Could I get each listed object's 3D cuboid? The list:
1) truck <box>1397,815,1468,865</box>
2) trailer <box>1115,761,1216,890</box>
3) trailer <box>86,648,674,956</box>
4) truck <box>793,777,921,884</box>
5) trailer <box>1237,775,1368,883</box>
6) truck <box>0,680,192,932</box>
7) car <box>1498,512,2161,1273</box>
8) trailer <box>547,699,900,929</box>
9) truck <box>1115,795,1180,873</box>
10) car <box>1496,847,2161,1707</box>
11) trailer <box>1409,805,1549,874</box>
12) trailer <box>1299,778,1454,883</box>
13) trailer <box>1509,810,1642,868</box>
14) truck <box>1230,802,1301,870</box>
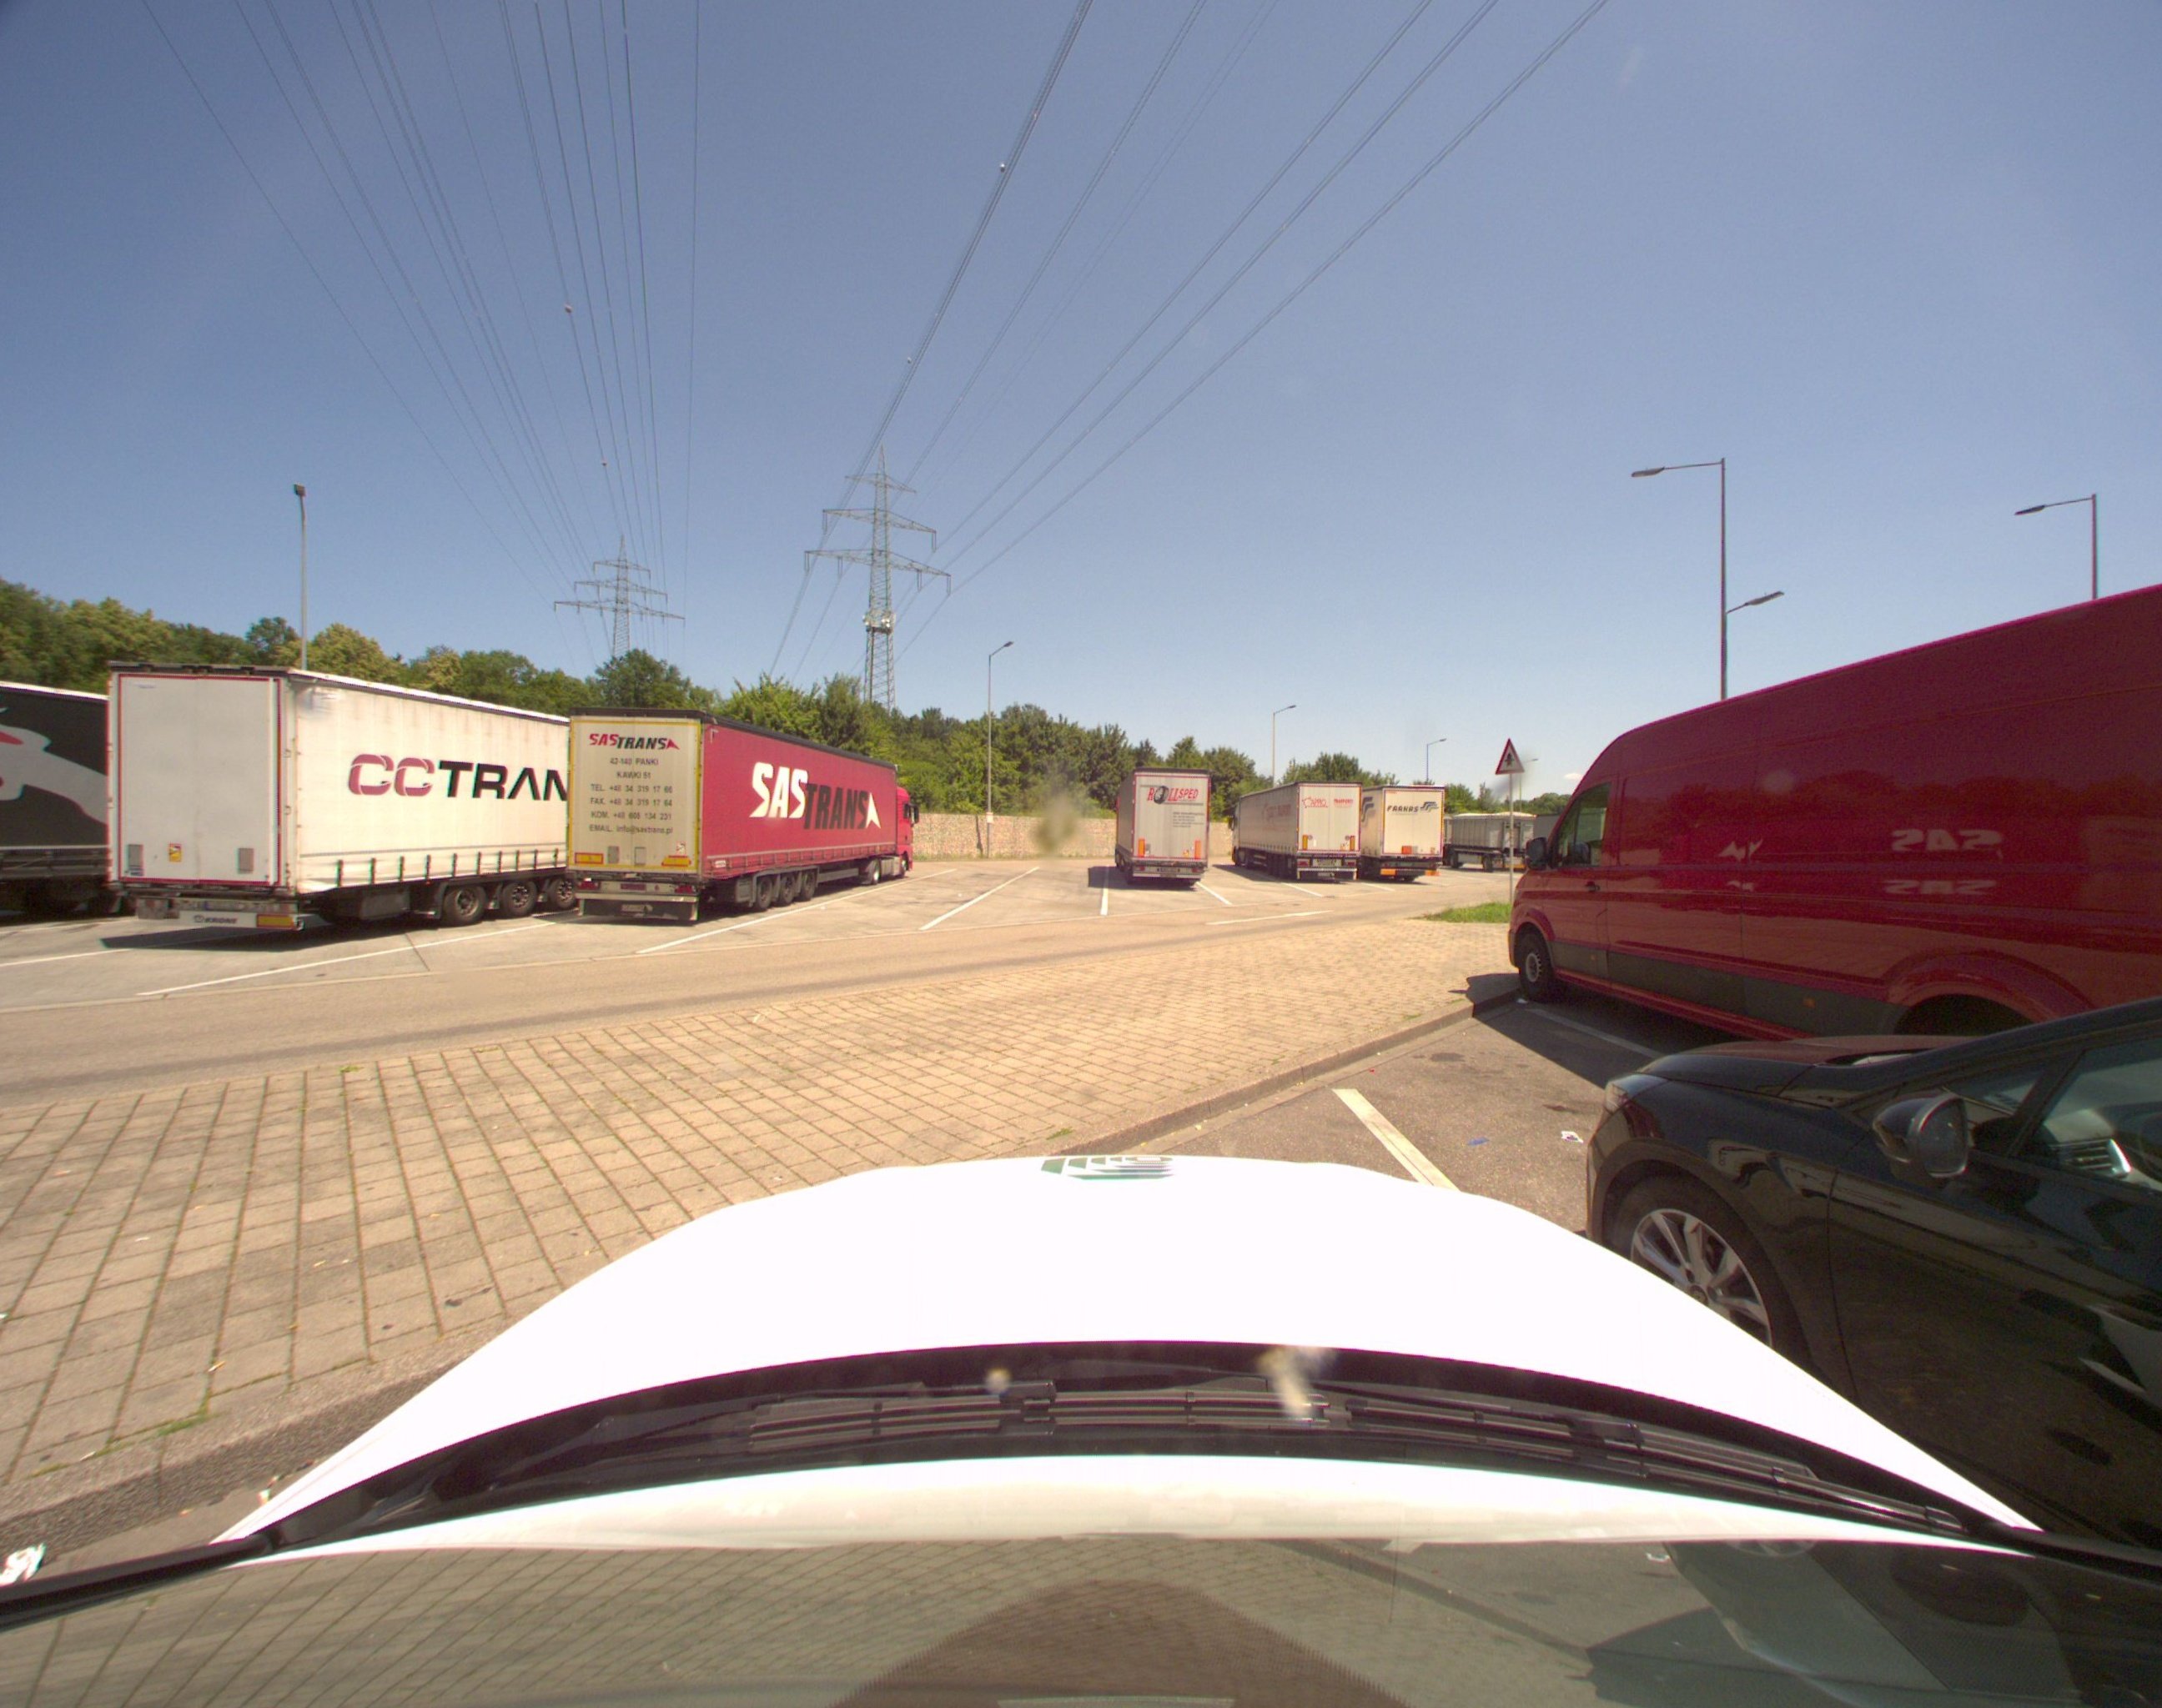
[{"bbox_3d":[24.918,-1.007,57.956,2.840,3.364,5.488,1,1,3],"label":"truck"},{"bbox_3d":[3.023,-1.102,33.300,2.896,4.132,13.727,1,2,1],"label":"trailer"},{"bbox_3d":[-12.205,-0.890,16.331,2.718,4.209,10.175,1,2,2],"label":"trailer"},{"bbox_3d":[-7.802,-0.836,29.096,2.841,3.427,5.486,1,1,2],"label":"truck"},{"bbox_3d":[9.953,-1.153,38.627,2.828,4.132,13.730,1,2,2],"label":"trailer"},{"bbox_3d":[-18.581,-0.803,13.566,2.692,4.016,4.326,1,2,2],"label":"truck"},{"bbox_3d":[5.161,0.087,5.493,2.055,2.695,6.405,-1,1,6],"label":"car"},{"bbox_3d":[-8.040,-0.954,21.660,2.896,4.131,13.731,1,2,2],"label":"trailer"},{"bbox_3d":[3.166,-0.988,39.912,2.841,3.483,5.486,1,1,2],"label":"truck"},{"bbox_3d":[2.518,0.754,1.183,1.733,1.482,3.813,-1,1,-3],"label":"car"},{"bbox_3d":[24.529,-0.998,51.458,2.826,3.717,13.737,1,2,3],"label":"trailer"},{"bbox_3d":[13.610,-1.119,39.290,2.828,4.132,13.730,1,2,2],"label":"trailer"},{"bbox_3d":[38.371,-1.233,64.142,2.826,4.049,13.737,1,2,3],"label":"trailer"},{"bbox_3d":[10.161,-1.027,45.438,2.841,3.483,5.486,1,1,2],"label":"truck"}]
